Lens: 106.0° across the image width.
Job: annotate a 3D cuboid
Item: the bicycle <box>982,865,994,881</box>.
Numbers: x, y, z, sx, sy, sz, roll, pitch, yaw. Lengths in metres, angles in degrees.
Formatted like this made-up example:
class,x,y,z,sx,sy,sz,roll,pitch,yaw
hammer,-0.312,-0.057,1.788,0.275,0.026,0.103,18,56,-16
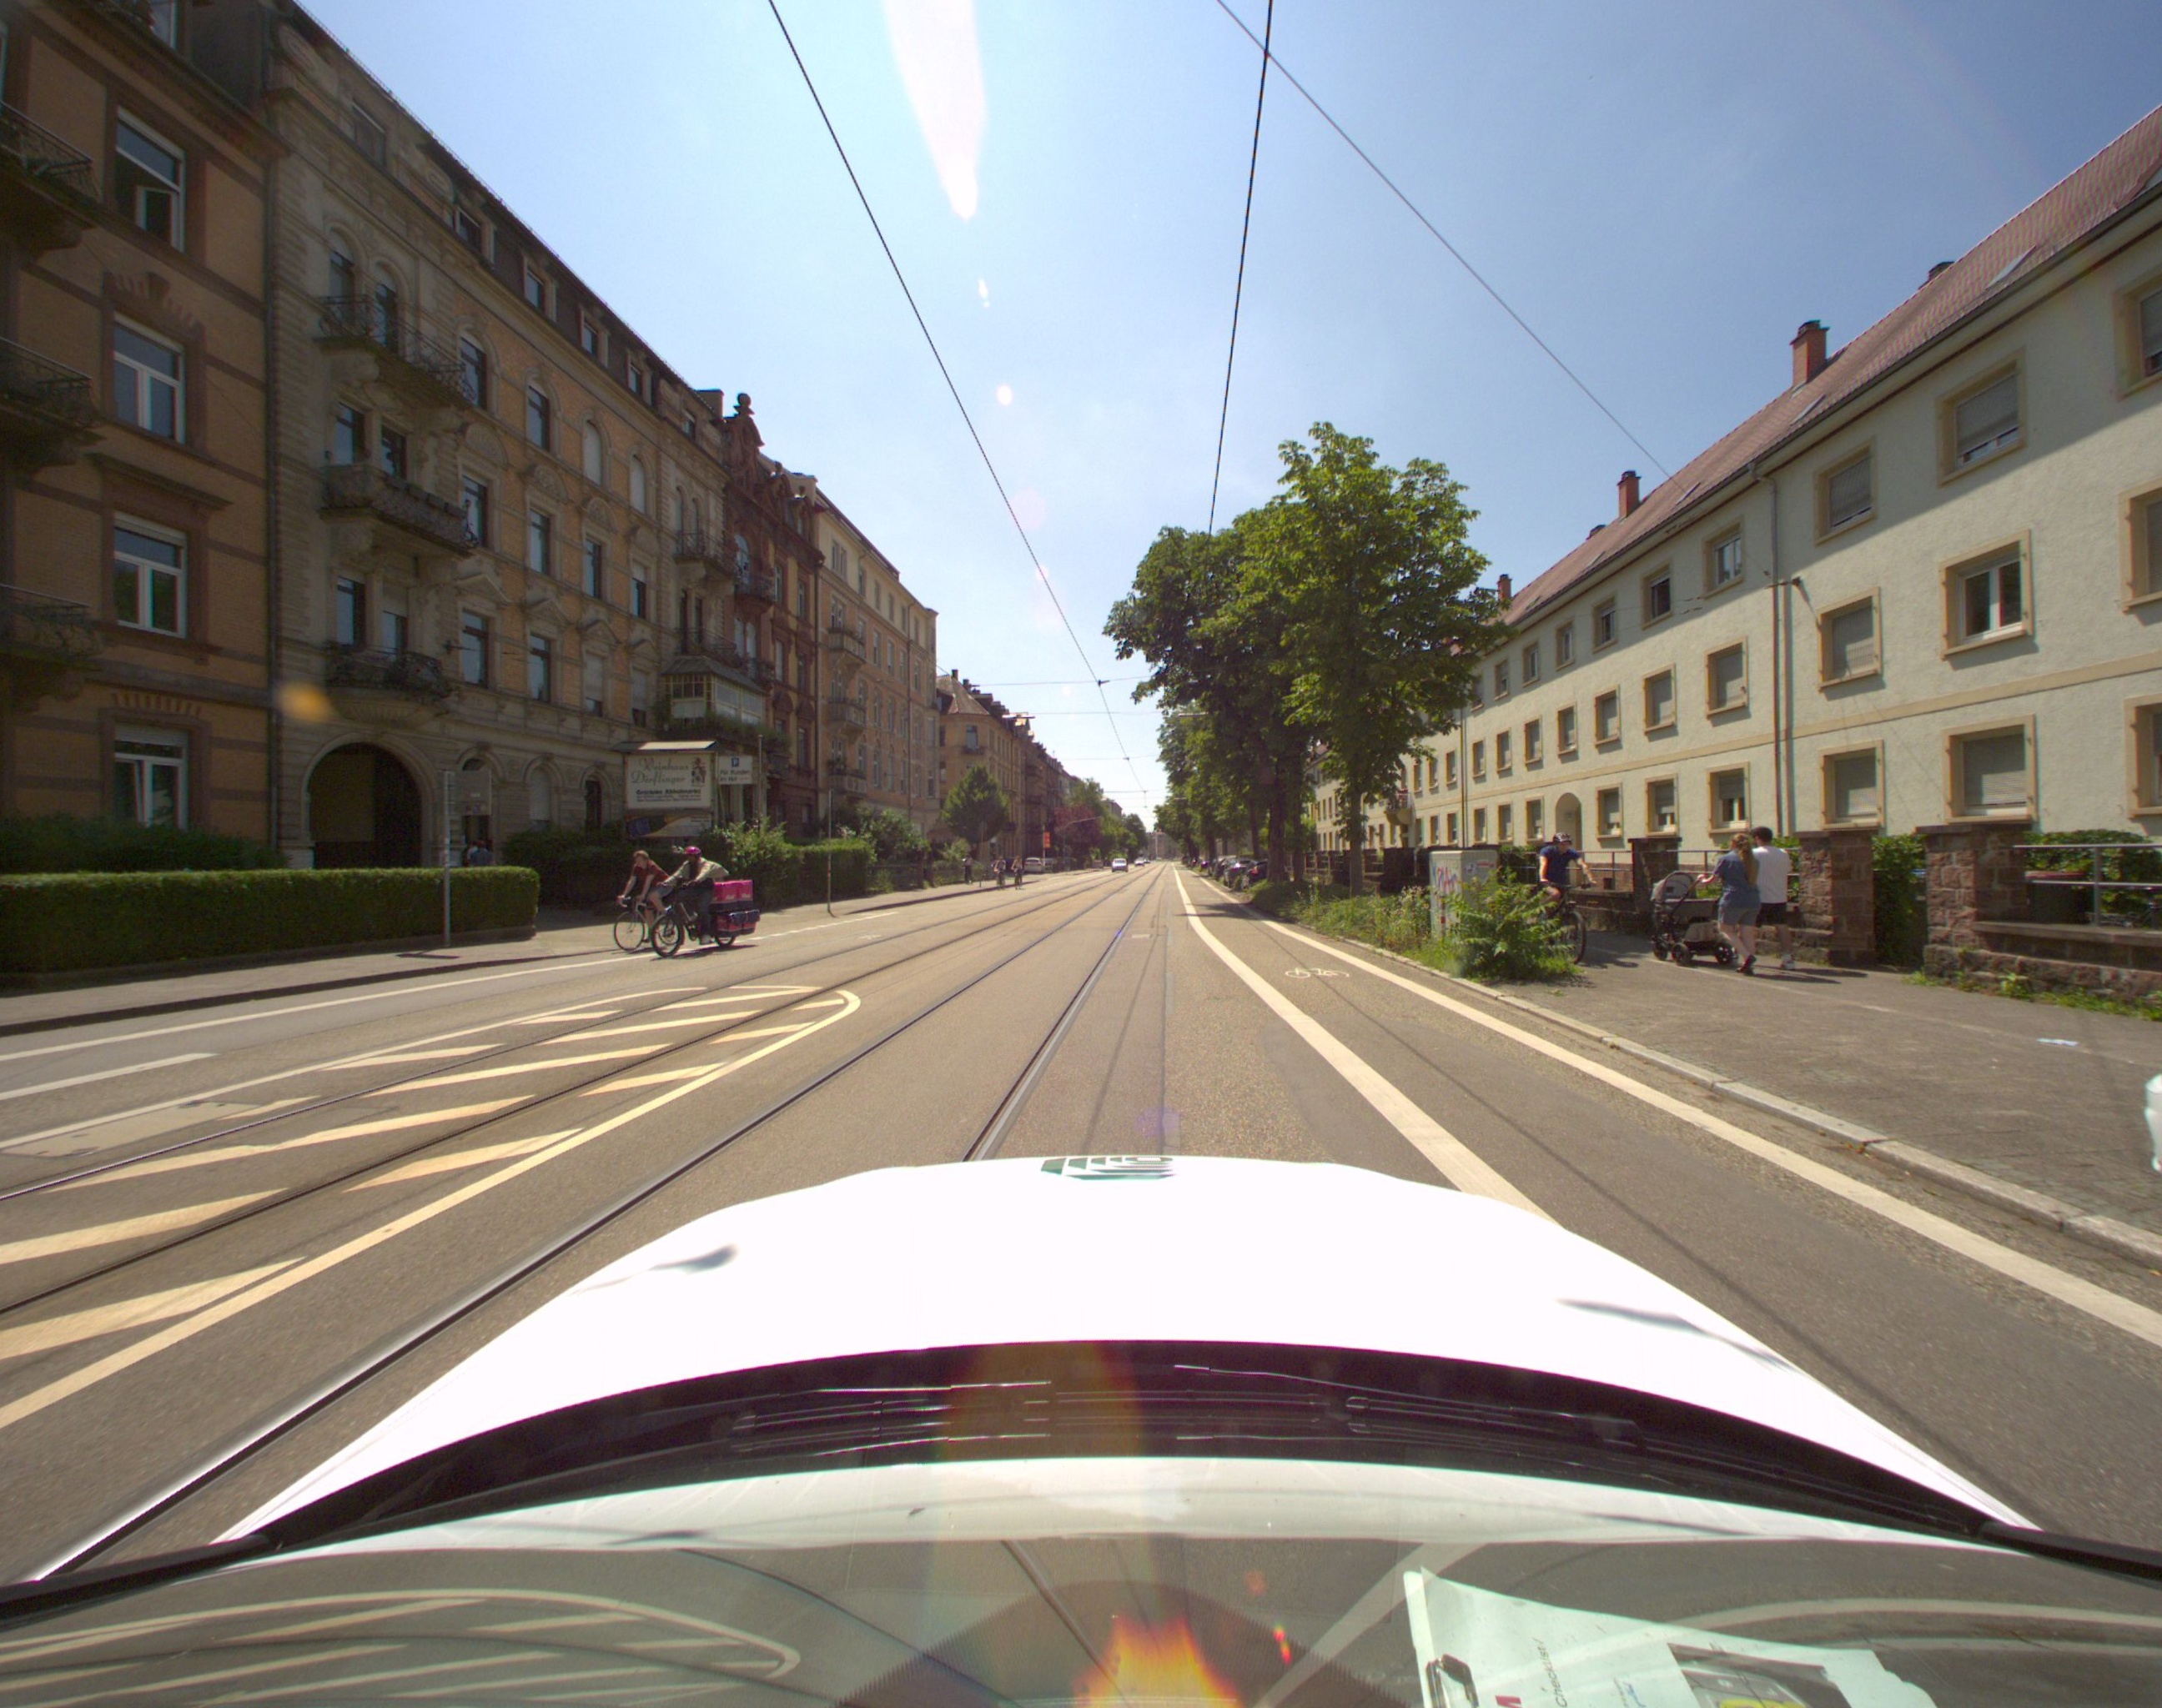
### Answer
class,x,y,z,sx,sy,sz,roll,pitch,yaw
bicycle,-6.031,1.221,52.912,0.437,0.983,1.713,0,0,4

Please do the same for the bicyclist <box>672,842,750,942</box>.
class,x,y,z,sx,sy,sz,roll,pitch,yaw
bicyclist,-6.254,0.632,13.815,0.803,1.630,0.982,-1,-1,6

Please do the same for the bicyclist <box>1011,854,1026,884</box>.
class,x,y,z,sx,sy,sz,roll,pitch,yaw
bicyclist,-3.310,0.774,42.893,0.589,1.544,0.953,-2,-1,6

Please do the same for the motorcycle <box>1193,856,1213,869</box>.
class,x,y,z,sx,sy,sz,roll,pitch,yaw
motorcycle,14.851,1.016,99.227,0.874,1.540,2.293,0,0,-41

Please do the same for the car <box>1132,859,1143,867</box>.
class,x,y,z,sx,sy,sz,roll,pitch,yaw
car,10.408,1.712,149.366,1.747,1.424,4.007,-1,-1,7

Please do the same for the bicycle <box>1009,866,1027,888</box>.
class,x,y,z,sx,sy,sz,roll,pitch,yaw
bicycle,-3.305,1.206,42.841,0.578,1.078,1.893,-2,0,6

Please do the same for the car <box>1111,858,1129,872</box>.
class,x,y,z,sx,sy,sz,roll,pitch,yaw
car,4.306,1.177,89.149,1.676,1.449,4.006,-1,0,6

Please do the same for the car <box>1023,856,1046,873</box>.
class,x,y,z,sx,sy,sz,roll,pitch,yaw
car,-4.596,1.047,81.042,1.859,1.600,4.102,1,0,1

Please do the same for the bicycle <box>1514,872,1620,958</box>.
class,x,y,z,sx,sy,sz,roll,pitch,yaw
bicycle,6.644,0.800,11.233,0.599,1.051,1.827,-1,0,8

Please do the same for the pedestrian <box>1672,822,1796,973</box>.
class,x,y,z,sx,sy,sz,roll,pitch,yaw
pedestrian,7.688,0.497,9.632,0.694,1.669,0.870,-3,-1,5

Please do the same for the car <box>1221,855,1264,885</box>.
class,x,y,z,sx,sy,sz,roll,pitch,yaw
car,8.645,0.823,43.811,1.725,1.552,4.459,-1,0,4

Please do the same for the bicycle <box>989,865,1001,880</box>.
class,x,y,z,sx,sy,sz,roll,pitch,yaw
bicycle,-5.797,1.241,54.944,0.437,0.983,1.713,0,0,4

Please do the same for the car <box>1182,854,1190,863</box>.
class,x,y,z,sx,sy,sz,roll,pitch,yaw
car,24.946,1.107,193.508,1.983,2.035,4.705,-1,0,6

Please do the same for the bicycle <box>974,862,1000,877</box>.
class,x,y,z,sx,sy,sz,roll,pitch,yaw
bicycle,-6.537,1.097,56.384,1.694,1.037,0.553,0,0,10

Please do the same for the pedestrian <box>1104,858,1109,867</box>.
class,x,y,z,sx,sy,sz,roll,pitch,yaw
pedestrian,4.357,1.438,140.150,0.748,1.629,0.833,0,-1,1

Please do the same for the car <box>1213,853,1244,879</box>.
class,x,y,z,sx,sy,sz,roll,pitch,yaw
car,9.832,0.753,54.602,1.936,1.651,4.892,-1,0,9

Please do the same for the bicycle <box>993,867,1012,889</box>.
class,x,y,z,sx,sy,sz,roll,pitch,yaw
bicycle,-4.120,1.243,42.943,0.626,1.078,1.878,-2,0,6

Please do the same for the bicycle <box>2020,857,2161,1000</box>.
class,x,y,z,sx,sy,sz,roll,pitch,yaw
bicycle,9.309,0.624,7.024,0.593,1.175,1.758,-1,0,10

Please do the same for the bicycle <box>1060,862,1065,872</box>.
class,x,y,z,sx,sy,sz,roll,pitch,yaw
bicycle,-2.019,1.418,89.904,0.452,1.003,1.808,0,0,3

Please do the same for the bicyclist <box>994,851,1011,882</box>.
class,x,y,z,sx,sy,sz,roll,pitch,yaw
bicyclist,-4.132,0.647,43.005,0.631,1.584,1.030,-2,-1,6

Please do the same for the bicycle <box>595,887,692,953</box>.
class,x,y,z,sx,sy,sz,roll,pitch,yaw
bicycle,-7.750,1.134,14.522,0.565,1.038,1.832,-1,0,7

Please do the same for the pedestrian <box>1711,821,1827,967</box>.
class,x,y,z,sx,sy,sz,roll,pitch,yaw
pedestrian,8.312,0.472,9.876,0.694,1.669,0.757,-3,-1,5

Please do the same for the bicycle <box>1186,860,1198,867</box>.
class,x,y,z,sx,sy,sz,roll,pitch,yaw
bicycle,18.404,1.597,135.094,1.950,1.063,0.601,-1,-1,12

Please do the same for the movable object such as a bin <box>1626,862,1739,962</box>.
class,x,y,z,sx,sy,sz,roll,pitch,yaw
movable object such as a bin,7.781,0.724,10.588,0.694,1.186,1.038,-3,-1,5

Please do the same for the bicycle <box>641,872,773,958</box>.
class,x,y,z,sx,sy,sz,roll,pitch,yaw
bicycle,-6.248,0.967,13.818,0.803,1.271,2.555,-1,0,7

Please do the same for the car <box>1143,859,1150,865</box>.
class,x,y,z,sx,sy,sz,roll,pitch,yaw
car,16.505,1.908,204.688,1.678,1.454,3.754,0,-1,6

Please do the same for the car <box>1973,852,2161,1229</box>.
class,x,y,z,sx,sy,sz,roll,pitch,yaw
car,4.914,0.679,1.653,1.769,1.410,4.162,-5,-1,5

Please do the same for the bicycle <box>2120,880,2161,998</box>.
class,x,y,z,sx,sy,sz,roll,pitch,yaw
bicycle,10.063,0.776,6.757,0.525,1.063,1.865,-1,0,1

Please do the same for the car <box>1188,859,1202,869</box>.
class,x,y,z,sx,sy,sz,roll,pitch,yaw
car,16.902,1.458,120.702,1.765,1.501,4.311,-2,0,5

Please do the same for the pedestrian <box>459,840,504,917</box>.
class,x,y,z,sx,sy,sz,roll,pitch,yaw
pedestrian,-14.852,0.585,20.163,0.821,1.857,0.868,0,-1,-42

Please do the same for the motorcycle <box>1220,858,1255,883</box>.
class,x,y,z,sx,sy,sz,roll,pitch,yaw
motorcycle,9.140,0.955,47.631,1.908,1.433,0.671,0,0,-3

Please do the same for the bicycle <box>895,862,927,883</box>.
class,x,y,z,sx,sy,sz,roll,pitch,yaw
bicycle,-8.600,0.928,41.169,1.502,1.043,0.496,-1,0,7

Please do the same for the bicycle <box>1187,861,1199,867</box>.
class,x,y,z,sx,sy,sz,roll,pitch,yaw
bicycle,18.532,1.618,134.603,1.877,1.052,0.540,-1,-1,12

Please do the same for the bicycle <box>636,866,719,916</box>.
class,x,y,z,sx,sy,sz,roll,pitch,yaw
bicycle,-10.565,0.969,21.334,1.862,1.227,0.569,2,0,3

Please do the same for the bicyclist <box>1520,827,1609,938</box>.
class,x,y,z,sx,sy,sz,roll,pitch,yaw
bicyclist,6.647,0.379,11.244,0.707,1.452,1.012,-1,-1,8

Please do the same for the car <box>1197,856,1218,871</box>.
class,x,y,z,sx,sy,sz,roll,pitch,yaw
car,12.997,0.985,83.900,1.761,1.426,4.867,-1,0,4

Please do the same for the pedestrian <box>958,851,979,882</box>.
class,x,y,z,sx,sy,sz,roll,pitch,yaw
pedestrian,-6.395,0.720,46.211,0.847,1.723,1.141,2,0,6

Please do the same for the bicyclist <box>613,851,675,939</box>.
class,x,y,z,sx,sy,sz,roll,pitch,yaw
bicyclist,-7.758,0.717,14.488,0.559,1.516,0.893,-1,-1,7

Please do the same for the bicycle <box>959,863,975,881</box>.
class,x,y,z,sx,sy,sz,roll,pitch,yaw
bicycle,-6.670,1.046,47.799,0.494,0.987,1.713,4,0,4

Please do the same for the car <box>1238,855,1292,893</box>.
class,x,y,z,sx,sy,sz,roll,pitch,yaw
car,7.885,0.815,35.231,1.649,1.515,4.004,0,0,3
